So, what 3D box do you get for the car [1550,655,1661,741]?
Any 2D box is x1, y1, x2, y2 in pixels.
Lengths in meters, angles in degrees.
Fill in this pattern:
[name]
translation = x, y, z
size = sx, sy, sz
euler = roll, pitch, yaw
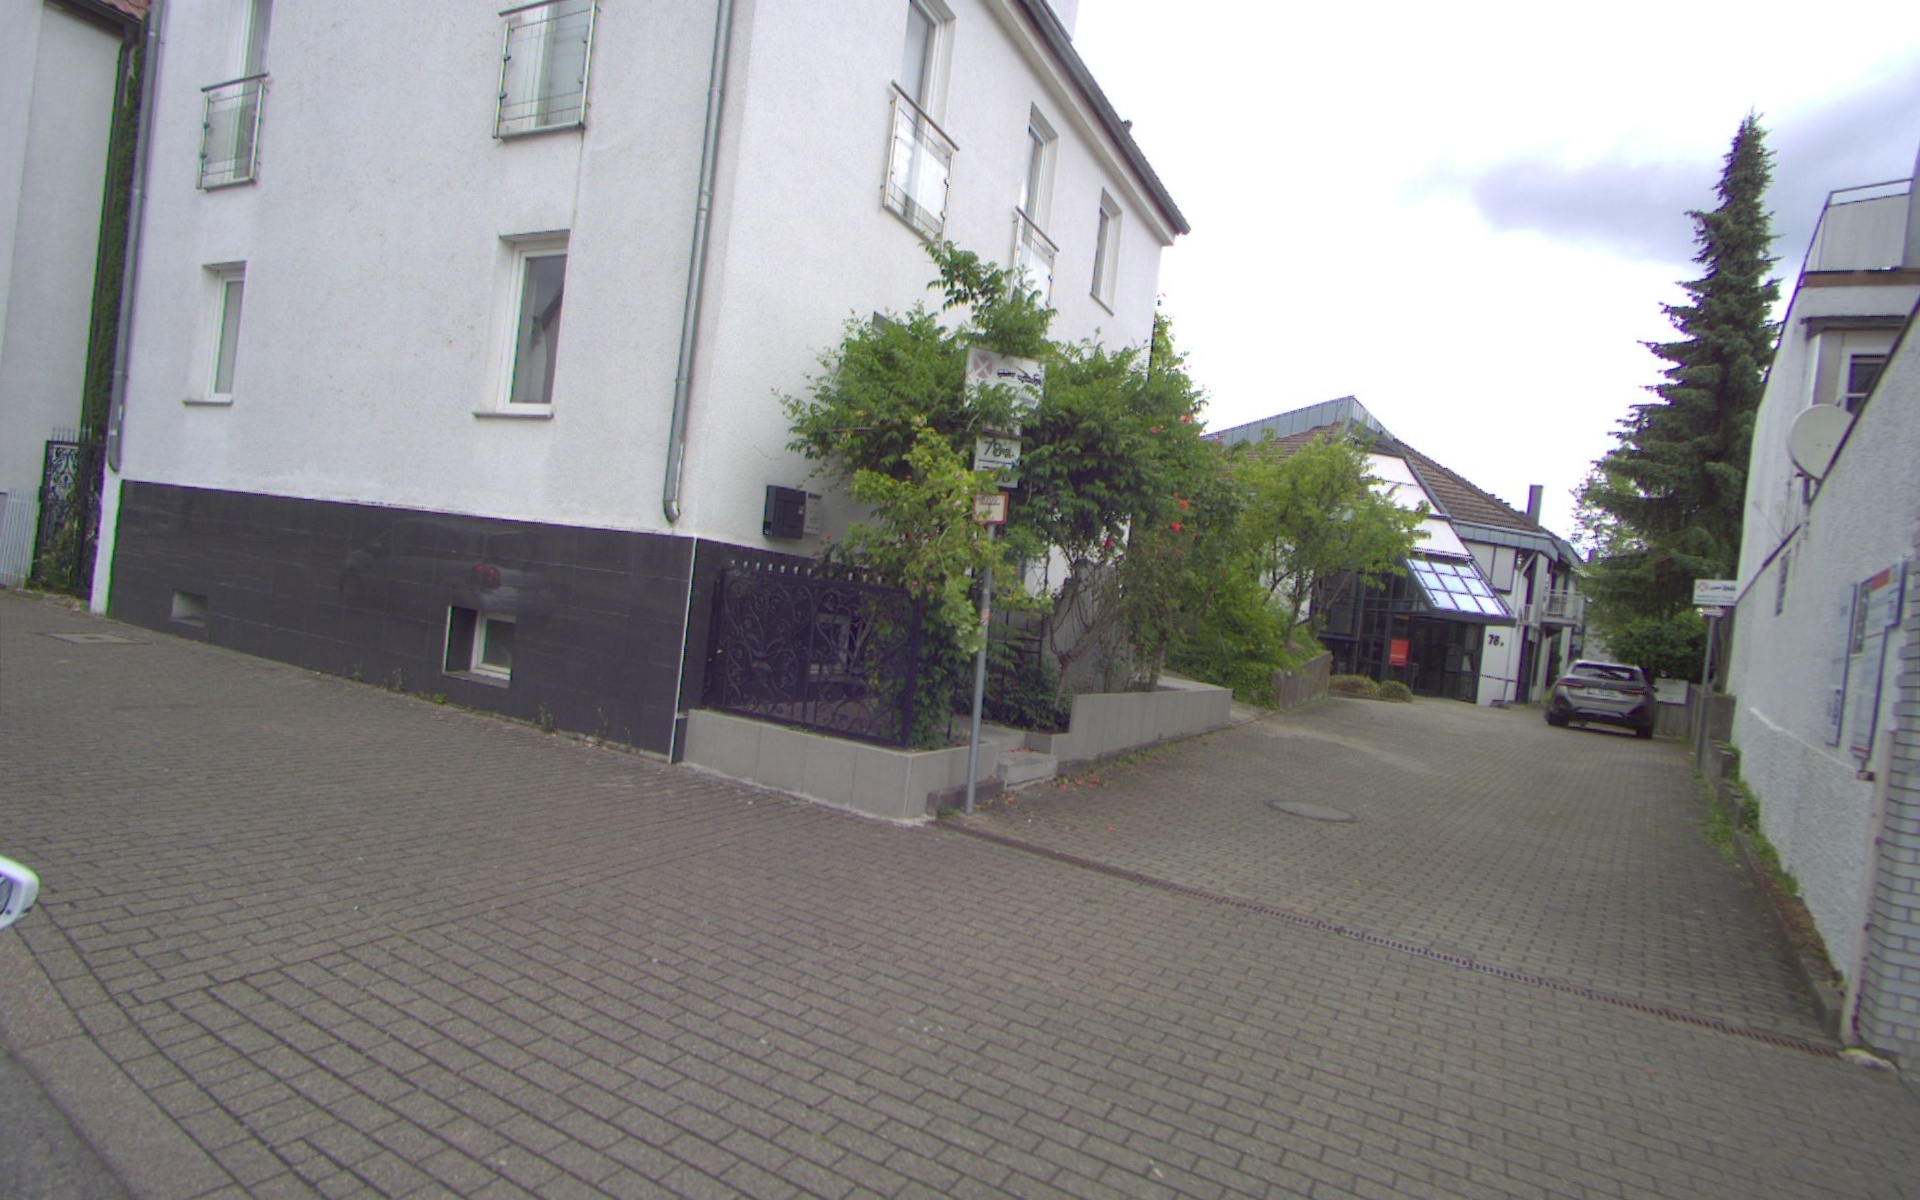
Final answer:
[car]
translation = 14.040, 2.076, 21.866
size = 1.722, 1.488, 3.988
euler = 7, 0, 34
